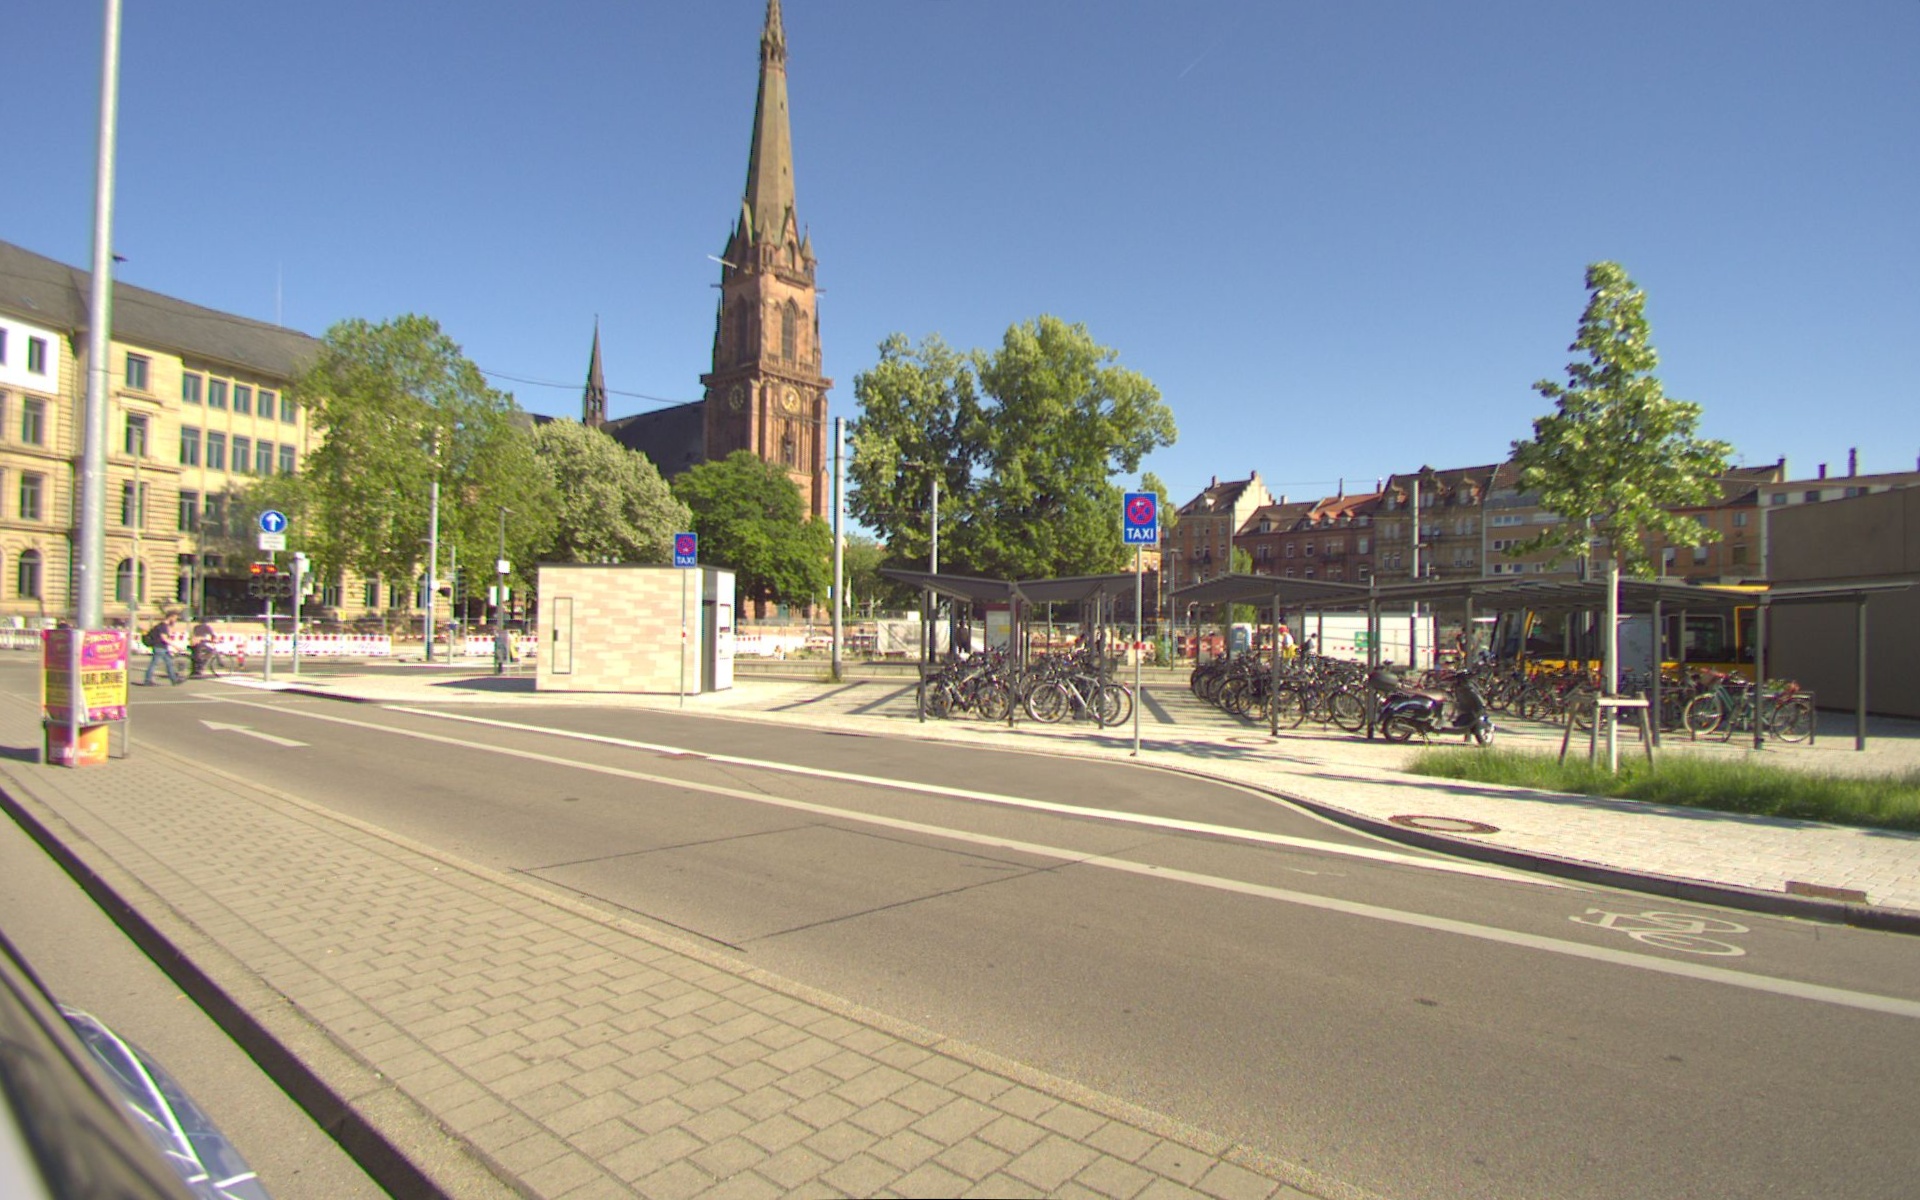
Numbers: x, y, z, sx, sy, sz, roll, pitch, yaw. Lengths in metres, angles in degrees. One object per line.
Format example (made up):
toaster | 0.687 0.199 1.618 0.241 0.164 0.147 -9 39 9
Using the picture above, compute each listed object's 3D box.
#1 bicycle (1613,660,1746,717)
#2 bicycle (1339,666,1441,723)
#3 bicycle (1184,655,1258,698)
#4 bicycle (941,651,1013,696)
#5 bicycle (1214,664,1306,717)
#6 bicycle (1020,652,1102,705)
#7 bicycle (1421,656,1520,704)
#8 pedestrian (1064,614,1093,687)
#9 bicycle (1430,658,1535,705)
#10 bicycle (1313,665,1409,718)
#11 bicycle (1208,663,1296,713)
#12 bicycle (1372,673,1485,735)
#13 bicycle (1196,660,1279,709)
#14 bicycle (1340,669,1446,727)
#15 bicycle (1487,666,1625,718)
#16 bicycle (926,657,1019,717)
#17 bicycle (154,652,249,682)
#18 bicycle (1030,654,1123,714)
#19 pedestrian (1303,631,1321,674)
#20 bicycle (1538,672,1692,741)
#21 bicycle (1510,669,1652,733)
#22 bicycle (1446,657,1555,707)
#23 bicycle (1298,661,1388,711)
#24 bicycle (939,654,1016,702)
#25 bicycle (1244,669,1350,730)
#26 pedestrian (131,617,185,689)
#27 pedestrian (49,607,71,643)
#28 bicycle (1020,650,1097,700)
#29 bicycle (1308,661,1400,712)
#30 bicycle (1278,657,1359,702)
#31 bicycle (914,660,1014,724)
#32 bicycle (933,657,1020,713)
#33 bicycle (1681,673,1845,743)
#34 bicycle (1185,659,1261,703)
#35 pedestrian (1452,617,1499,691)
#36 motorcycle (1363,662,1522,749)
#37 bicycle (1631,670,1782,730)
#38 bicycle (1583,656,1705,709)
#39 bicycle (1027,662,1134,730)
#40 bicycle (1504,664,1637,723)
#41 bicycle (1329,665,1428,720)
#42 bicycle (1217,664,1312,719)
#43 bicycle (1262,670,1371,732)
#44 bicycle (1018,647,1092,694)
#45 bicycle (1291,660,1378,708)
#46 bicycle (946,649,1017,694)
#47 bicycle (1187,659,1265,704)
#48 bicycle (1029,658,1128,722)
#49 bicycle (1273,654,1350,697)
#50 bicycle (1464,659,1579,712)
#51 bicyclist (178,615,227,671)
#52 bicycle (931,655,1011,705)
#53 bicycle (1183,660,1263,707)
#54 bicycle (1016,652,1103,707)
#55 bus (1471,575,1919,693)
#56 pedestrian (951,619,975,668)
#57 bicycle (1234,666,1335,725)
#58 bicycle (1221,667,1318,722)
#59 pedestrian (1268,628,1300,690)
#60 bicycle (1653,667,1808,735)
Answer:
bicycle | 13.855 1.699 19.522 2.048 1.045 0.533 -1 0 8
bicycle | 7.825 1.722 18.456 1.661 0.980 0.406 -1 0 3
bicycle | 6.258 1.836 24.308 1.661 0.980 0.406 1 -5 3
bicycle | 0.396 1.701 23.659 1.663 1.006 0.406 0 0 8
bicycle | 5.904 1.780 19.955 1.661 0.980 0.406 1 0 3
bicycle | 2.195 1.694 22.025 1.755 1.083 0.406 1 0 6
bicycle | 12.303 1.918 24.426 2.048 1.045 0.533 1 3 8
pedestrian | 3.093 1.315 26.384 0.693 1.873 0.620 1 -1 4
bicycle | 12.033 1.878 23.370 2.048 1.045 0.533 -1 -4 8
bicycle | 7.719 1.762 19.526 1.661 0.980 0.406 -1 0 3
bicycle | 5.927 1.784 20.561 1.661 0.980 0.406 1 -5 3
bicycle | 7.770 1.723 16.818 1.661 0.980 0.406 -1 0 3
bicycle | 5.928 1.805 21.636 1.661 0.980 0.406 1 -5 3
bicycle | 7.645 1.724 17.889 1.661 0.980 0.406 -1 0 3
bicycle | 11.616 1.797 19.787 2.208 0.951 0.685 -1 0 7
bicycle | 0.233 1.596 18.598 1.663 1.006 0.406 2 0 8
bicycle | -21.595 1.893 28.840 0.739 0.788 2.030 -1 -2 32
bicycle | 2.238 1.620 19.579 1.755 1.083 0.406 1 0 6
pedestrian | 15.704 2.322 45.105 0.637 1.885 0.529 0 -2 5
bicycle | 10.575 1.710 16.386 2.048 1.045 0.533 -1 0 8
bicycle | 10.751 1.740 17.565 2.048 1.045 0.533 -1 0 8
bicycle | 11.868 1.800 22.252 2.048 1.045 0.533 -1 2 8
bicycle | 7.863 1.760 20.822 1.661 0.980 0.406 -1 0 3
bicycle | 0.387 1.704 22.281 1.663 1.006 0.406 0 0 8
bicycle | 5.796 1.709 17.460 1.661 0.980 0.406 1 0 3
pedestrian | -19.906 1.298 25.124 0.987 1.756 0.631 2 -2 -42
pedestrian | -43.420 1.219 48.823 0.540 1.733 0.538 0 -2 3
bicycle | 2.275 1.731 23.495 1.755 1.083 0.406 1 0 6
bicycle | 7.860 1.729 20.225 1.661 0.980 0.406 -1 0 3
bicycle | 8.075 1.787 22.835 1.661 0.980 0.406 -1 0 3
bicycle | 0.069 1.573 17.379 1.663 1.006 0.406 2 0 8
bicycle | 0.330 1.663 19.942 1.663 1.006 0.406 2 0 8
bicycle | 12.769 1.714 16.134 2.048 1.045 0.533 -1 0 8
bicycle | 6.139 1.881 23.621 1.661 0.980 0.406 1 -5 3
pedestrian | 13.756 1.426 27.023 0.757 1.931 0.805 1 -2 -11
motorcycle | 7.195 1.569 15.156 2.059 1.228 0.569 -1 -2 3
bicycle | 13.482 1.796 18.326 2.117 1.005 0.690 -1 0 7
bicycle | 14.080 1.695 20.874 2.048 1.045 0.533 -1 0 8
bicycle | 2.024 1.605 17.089 1.753 1.083 0.406 1 -3 6
bicycle | 11.324 1.732 18.809 2.048 1.045 0.533 -1 0 8
bicycle | 7.844 1.730 19.010 1.661 0.980 0.406 -1 0 3
bicycle | 5.816 1.736 19.372 1.661 0.980 0.406 1 0 3
bicycle | 5.936 1.684 16.886 1.661 0.980 0.406 -1 0 3
bicycle | 2.316 1.723 24.674 1.755 1.083 0.406 1 0 6
bicycle | 7.991 1.789 21.620 1.661 0.980 0.406 -1 0 3
bicycle | 0.520 1.701 24.184 1.663 1.006 0.406 0 0 8
bicycle | 6.056 1.859 23.048 1.661 0.980 0.406 1 -5 3
bicycle | 2.142 1.616 18.334 1.753 1.083 0.406 1 0 6
bicycle | 8.294 1.784 23.911 1.661 0.980 0.406 -1 0 3
bicycle | 11.778 1.794 21.261 2.048 1.045 0.533 -1 2 8
bicyclist | -21.588 1.220 28.854 0.739 1.583 0.876 -1 -2 32
bicycle | 0.232 1.675 21.401 1.663 1.006 0.406 0 0 8
bicycle | 5.788 1.837 22.293 1.661 0.980 0.406 1 -5 3
bicycle | 2.055 1.642 20.970 1.755 1.083 0.406 1 0 6
bus | 22.122 0.933 28.624 13.462 3.095 2.859 0 -2 6
pedestrian | 0.108 1.678 39.121 0.610 1.874 0.703 2 -2 -39
bicycle | 5.818 1.709 18.185 1.661 0.980 0.406 1 0 3
bicycle | 5.731 1.749 18.765 1.661 0.980 0.406 -1 0 3
pedestrian | 8.635 1.565 27.014 0.694 1.635 0.619 0 -2 6
bicycle | 12.991 1.695 17.112 2.030 1.087 0.604 -1 0 7
